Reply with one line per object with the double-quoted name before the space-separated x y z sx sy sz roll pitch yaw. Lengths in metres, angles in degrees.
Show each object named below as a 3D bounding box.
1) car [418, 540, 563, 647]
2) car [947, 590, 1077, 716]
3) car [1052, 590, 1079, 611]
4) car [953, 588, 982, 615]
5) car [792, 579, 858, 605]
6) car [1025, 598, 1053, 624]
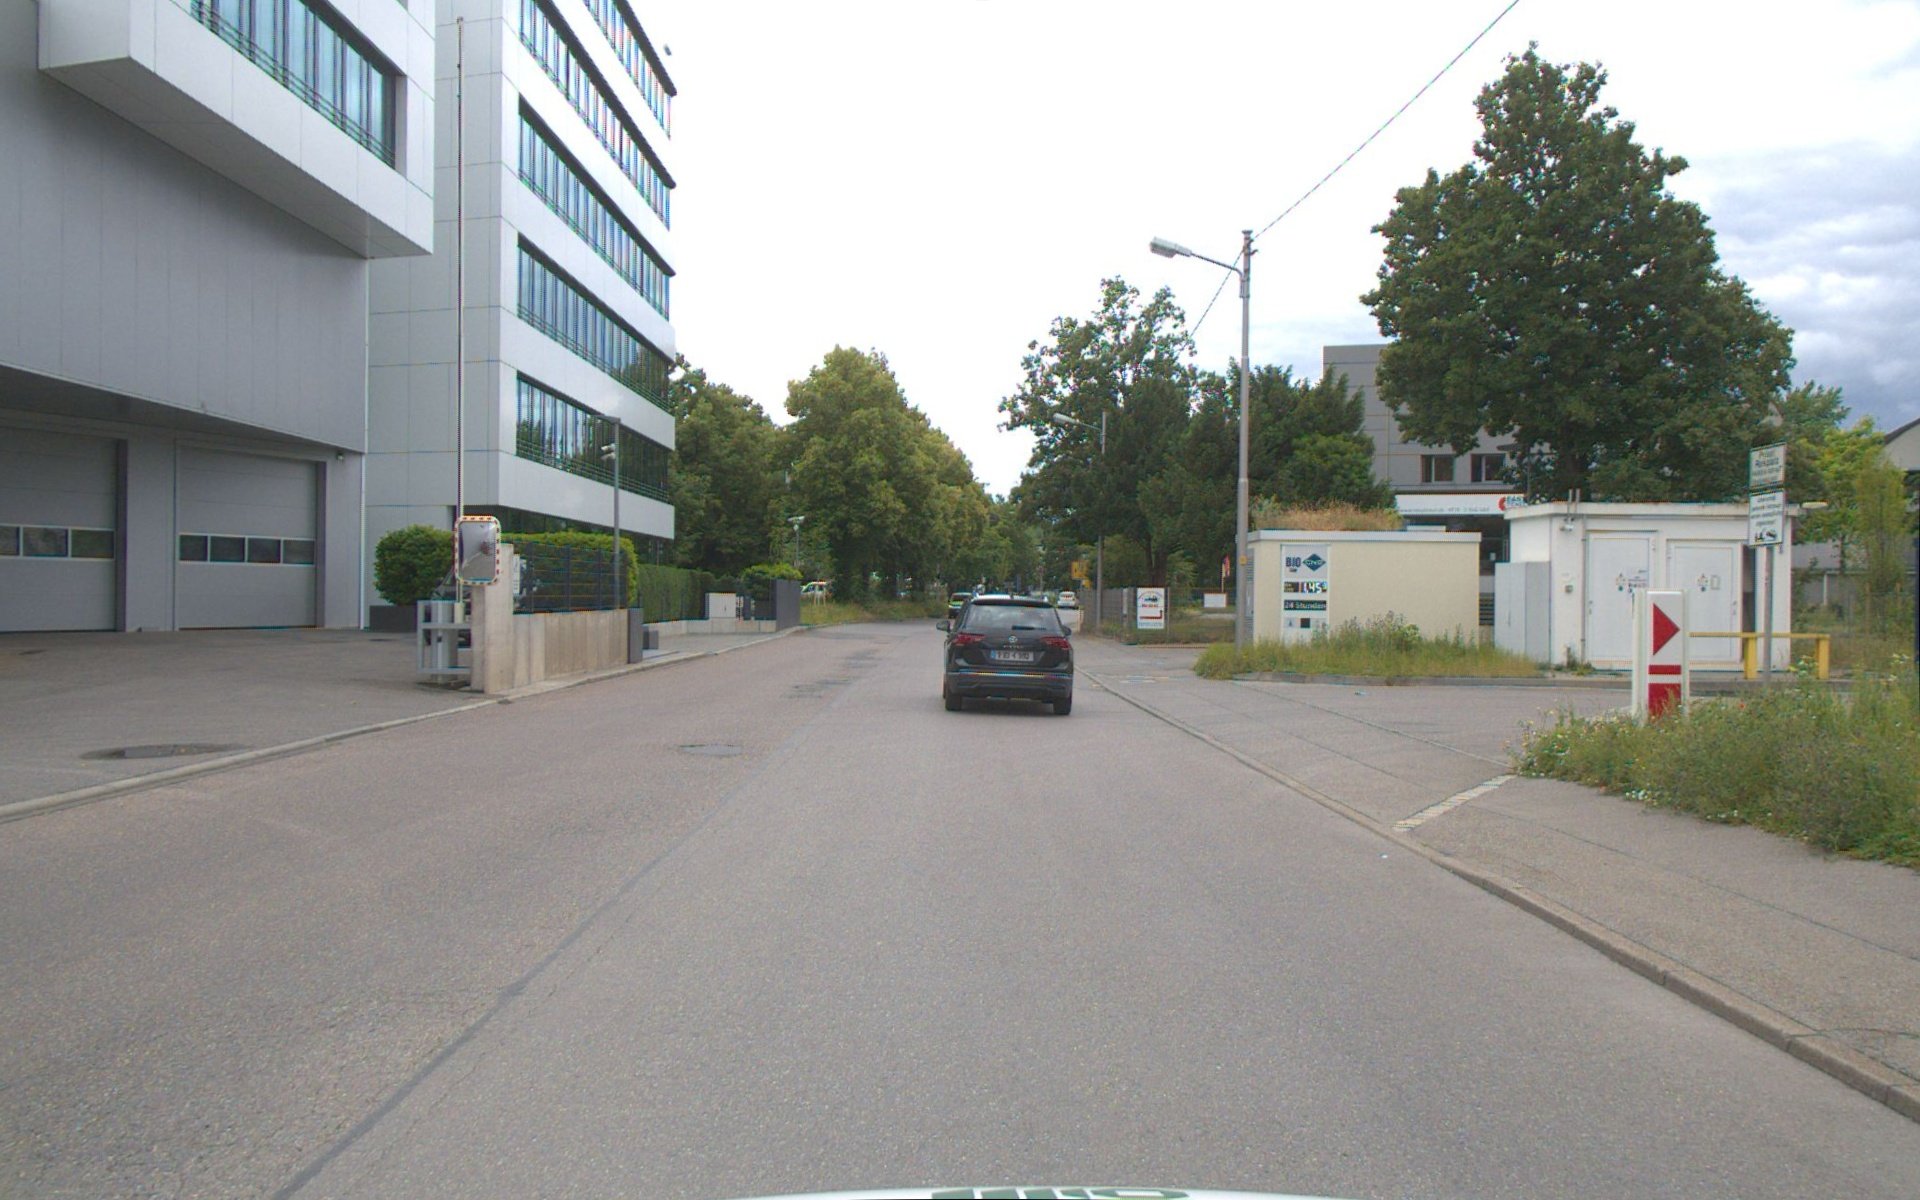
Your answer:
"car" -8.513 -0.113 30.229 1.616 1.792 3.179 2 0 1
"car" 0.762 0.736 24.119 1.703 1.646 3.642 2 -1 2
"car" 9.362 0.064 146.871 1.951 1.817 4.003 1 0 10
"car" 0.535 0.111 117.553 1.770 1.795 4.207 2 0 4
"car" -12.649 -0.733 155.246 5.944 2.429 2.395 0 0 2
"car" 4.975 0.693 104.641 1.624 1.602 3.829 0 0 1
